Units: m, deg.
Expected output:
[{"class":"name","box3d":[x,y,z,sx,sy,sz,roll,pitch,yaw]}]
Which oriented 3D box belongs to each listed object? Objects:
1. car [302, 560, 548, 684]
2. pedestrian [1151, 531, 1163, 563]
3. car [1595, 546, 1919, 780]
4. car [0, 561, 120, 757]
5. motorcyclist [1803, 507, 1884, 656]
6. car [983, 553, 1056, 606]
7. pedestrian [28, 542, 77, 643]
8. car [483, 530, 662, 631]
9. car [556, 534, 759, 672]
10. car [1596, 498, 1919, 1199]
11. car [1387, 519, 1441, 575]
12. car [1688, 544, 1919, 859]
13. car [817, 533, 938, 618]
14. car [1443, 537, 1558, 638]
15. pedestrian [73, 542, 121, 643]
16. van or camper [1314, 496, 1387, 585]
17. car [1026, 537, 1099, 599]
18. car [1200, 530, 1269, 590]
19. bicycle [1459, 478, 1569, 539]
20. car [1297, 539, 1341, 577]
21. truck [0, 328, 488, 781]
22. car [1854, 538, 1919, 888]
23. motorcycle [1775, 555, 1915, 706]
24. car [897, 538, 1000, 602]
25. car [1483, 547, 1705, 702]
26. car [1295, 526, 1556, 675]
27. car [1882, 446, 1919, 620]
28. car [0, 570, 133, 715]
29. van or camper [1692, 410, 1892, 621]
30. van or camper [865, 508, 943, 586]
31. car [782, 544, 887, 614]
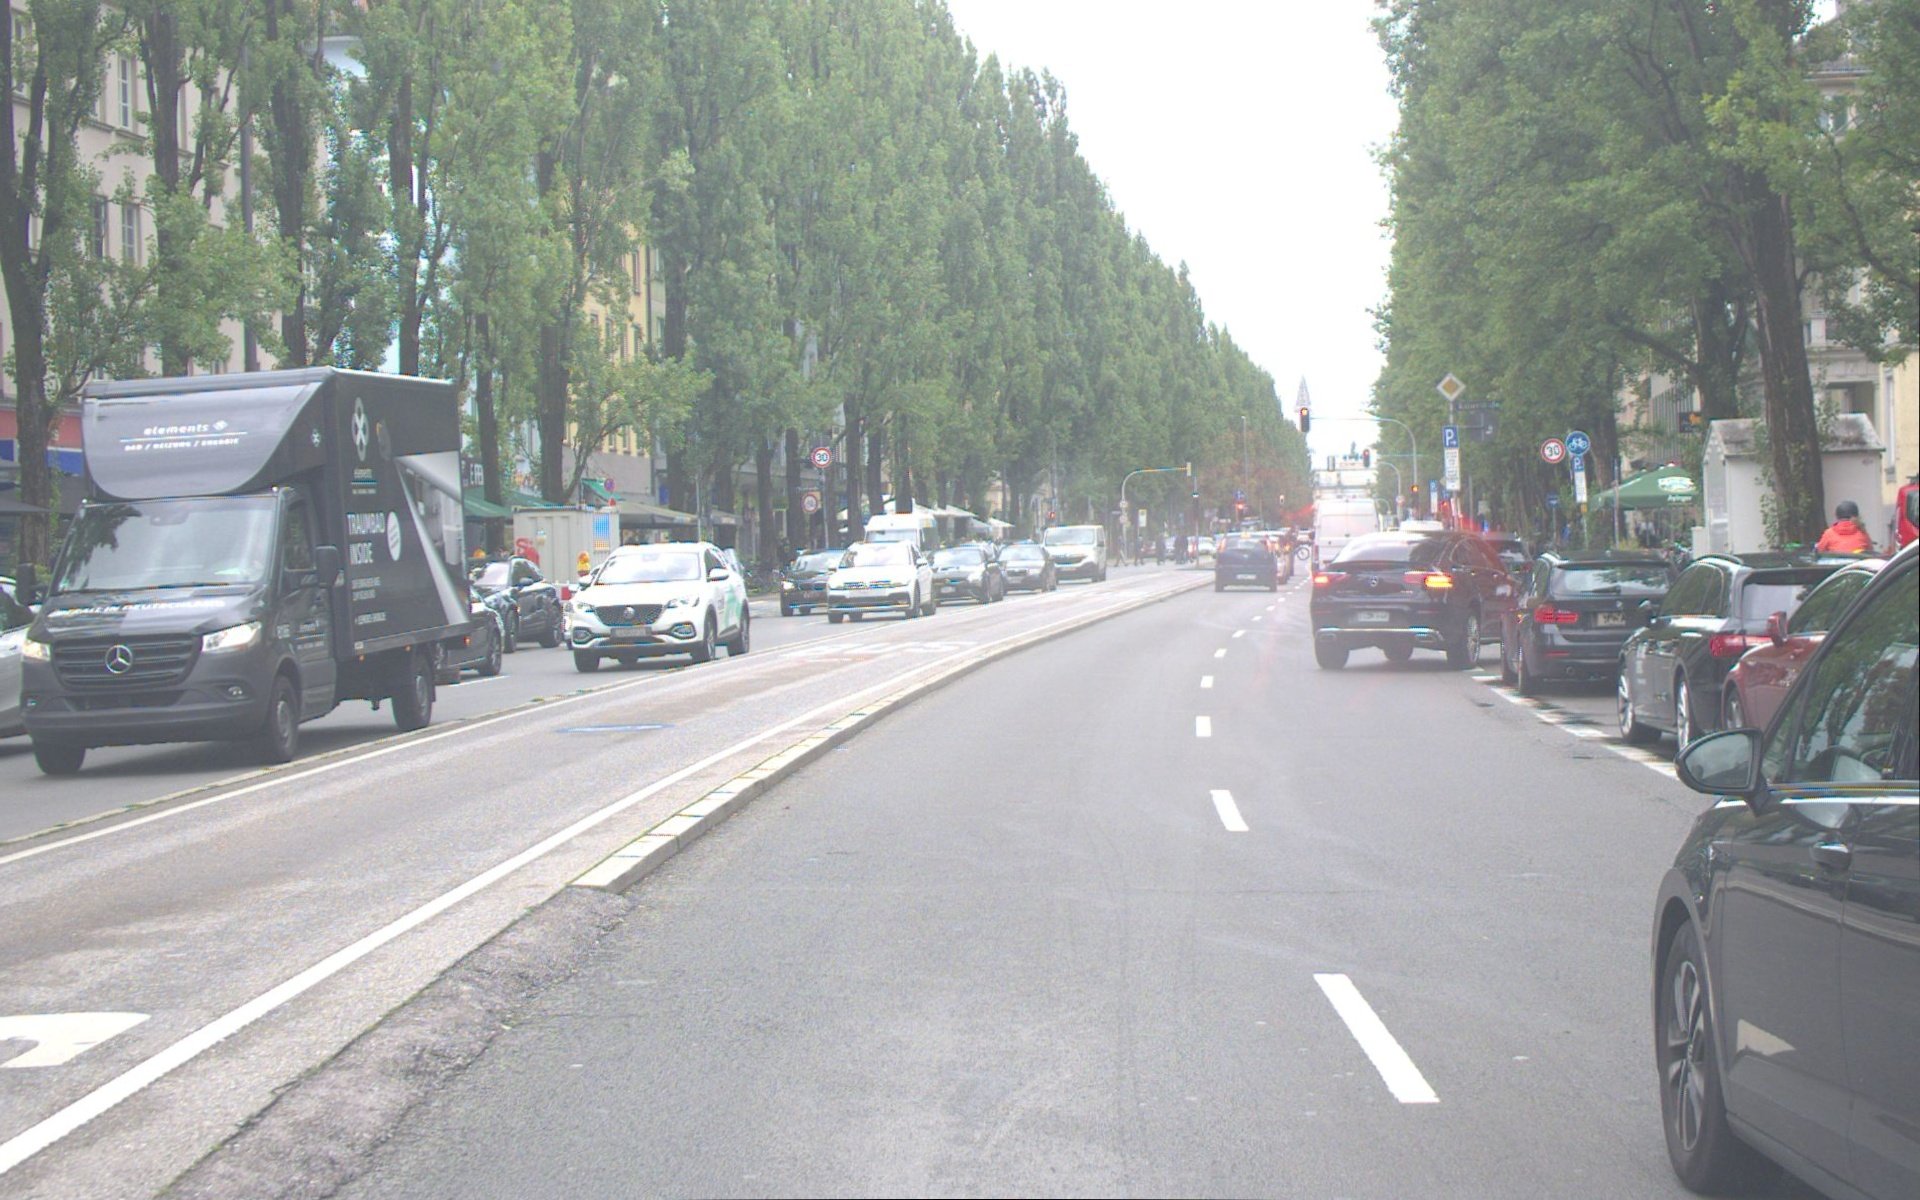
[{"class":"car","box3d":[-6.924,0.246,44.989,1.940,1.429,4.537,-2,1,7]},{"class":"pedestrian","box3d":[10.615,-2.844,184.815,0.553,1.710,0.493,-2,1,7]},{"class":"car","box3d":[5.650,0.365,23.906,1.847,1.423,4.425,-1,1,3]},{"class":"car","box3d":[-9.167,0.546,30.099,1.994,1.645,4.635,-2,1,6]},{"class":"motorcyclist","box3d":[8.549,-0.182,33.277,0.564,1.401,0.766,-2,1,3]},{"class":"car","box3d":[1.702,-0.595,97.036,1.712,1.409,3.722,-2,1,6]},{"class":"pedestrian","box3d":[-16.827,-0.146,63.755,0.638,1.855,0.648,-1,1,6]},{"class":"car","box3d":[-6.202,-0.346,55.514,1.940,1.488,4.456,-2,1,6]},{"class":"car","box3d":[-4.088,0.000,47.118,1.861,1.705,4.535,-2,1,6]},{"class":"car","box3d":[2.509,0.614,6.367,1.761,1.608,4.184,-1,1,-2]},{"class":"car","box3d":[16.247,-1.882,123.177,1.805,1.985,3.999,0,0,6]},{"class":"car","box3d":[5.417,0.435,18.647,1.930,1.445,4.804,-2,1,1]},{"class":"car","box3d":[-1.680,-0.528,71.490,1.940,1.636,4.463,-2,1,6]},{"class":"car","box3d":[9.024,-0.238,57.651,1.624,1.560,4.370,-1,1,6]},{"class":"pedestrian","box3d":[-16.022,-0.148,63.827,0.638,1.855,0.648,-1,1,6]},{"class":"van or camper","box3d":[11.339,-1.698,99.889,2.035,2.467,3.999,-1,0,6]},{"class":"car","box3d":[3.489,-1.078,116.234,1.994,1.927,4.917,-3,0,6]},{"class":"car","box3d":[7.519,-1.076,93.946,1.759,1.614,3.746,0,0,6]},{"class":"bicycle","box3d":[18.627,-3.078,115.569,3.551,2.007,1.296,0,0,16]},{"class":"car","box3d":[12.717,-1.491,121.606,1.504,1.308,3.282,-1,1,6]},{"class":"truck","box3d":[-6.088,-0.404,29.335,2.291,3.311,7.156,-2,1,6]},{"class":"car","box3d":[4.954,0.485,13.430,1.810,1.495,4.806,-2,1,2]},{"class":"motorcycle","box3d":[8.528,0.272,33.205,0.826,1.365,2.252,-2,1,3]},{"class":"car","box3d":[-0.254,-0.764,85.107,1.994,1.427,4.771,-2,1,6]},{"class":"car","box3d":[6.376,0.203,34.974,1.733,1.389,4.432,-2,1,5]},{"class":"car","box3d":[5.712,-0.028,41.710,1.883,1.636,4.577,-1,1,24]},{"class":"car","box3d":[14.094,-0.991,48.206,1.903,2.320,4.821,-2,1,18]},{"class":"car","box3d":[-10.968,0.465,38.385,1.940,1.488,4.295,-1,1,7]},{"class":"van or camper","box3d":[13.065,-1.320,54.280,2.461,3.101,4.714,-2,1,7]},{"class":"van or camper","box3d":[-1.803,-1.727,112.287,1.994,2.450,4.250,-1,1,6]},{"class":"car","box3d":[-2.960,-0.490,81.735,1.849,1.559,4.211,-2,0,6]}]
